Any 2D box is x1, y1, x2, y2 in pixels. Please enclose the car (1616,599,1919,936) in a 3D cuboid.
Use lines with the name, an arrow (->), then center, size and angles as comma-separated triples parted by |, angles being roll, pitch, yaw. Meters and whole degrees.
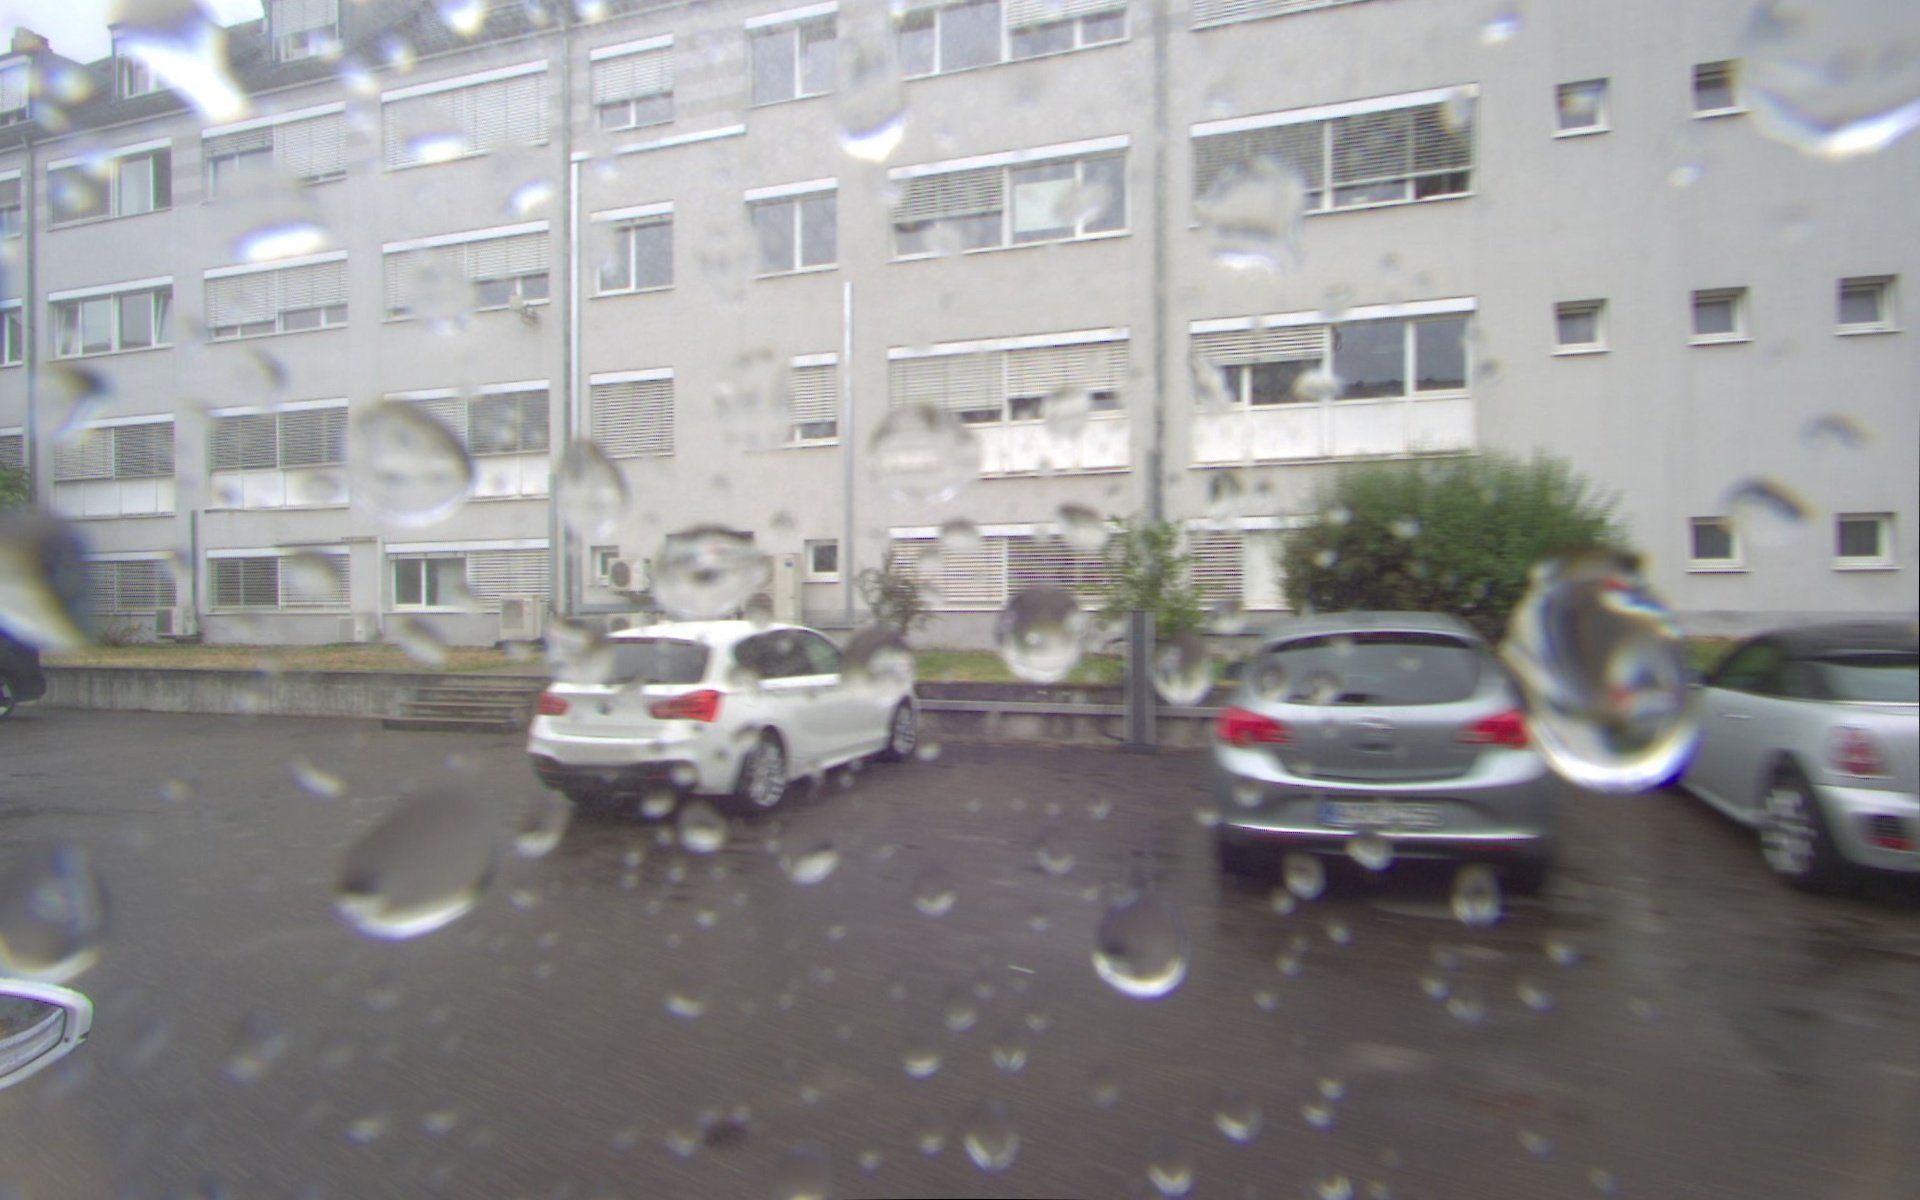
car -> 5.907, 0.800, 6.441 | 1.966, 1.510, 4.209 | 1, 2, 22

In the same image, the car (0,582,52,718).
car -> -14.921, 0.706, 12.811 | 2.009, 1.922, 4.517 | -1, -1, 16

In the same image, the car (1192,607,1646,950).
car -> 2.837, 0.828, 6.794 | 1.965, 1.509, 4.213 | 1, 0, 20

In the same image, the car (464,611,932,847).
car -> -1.932, 0.873, 8.849 | 1.965, 1.509, 4.213 | 1, 0, 20
